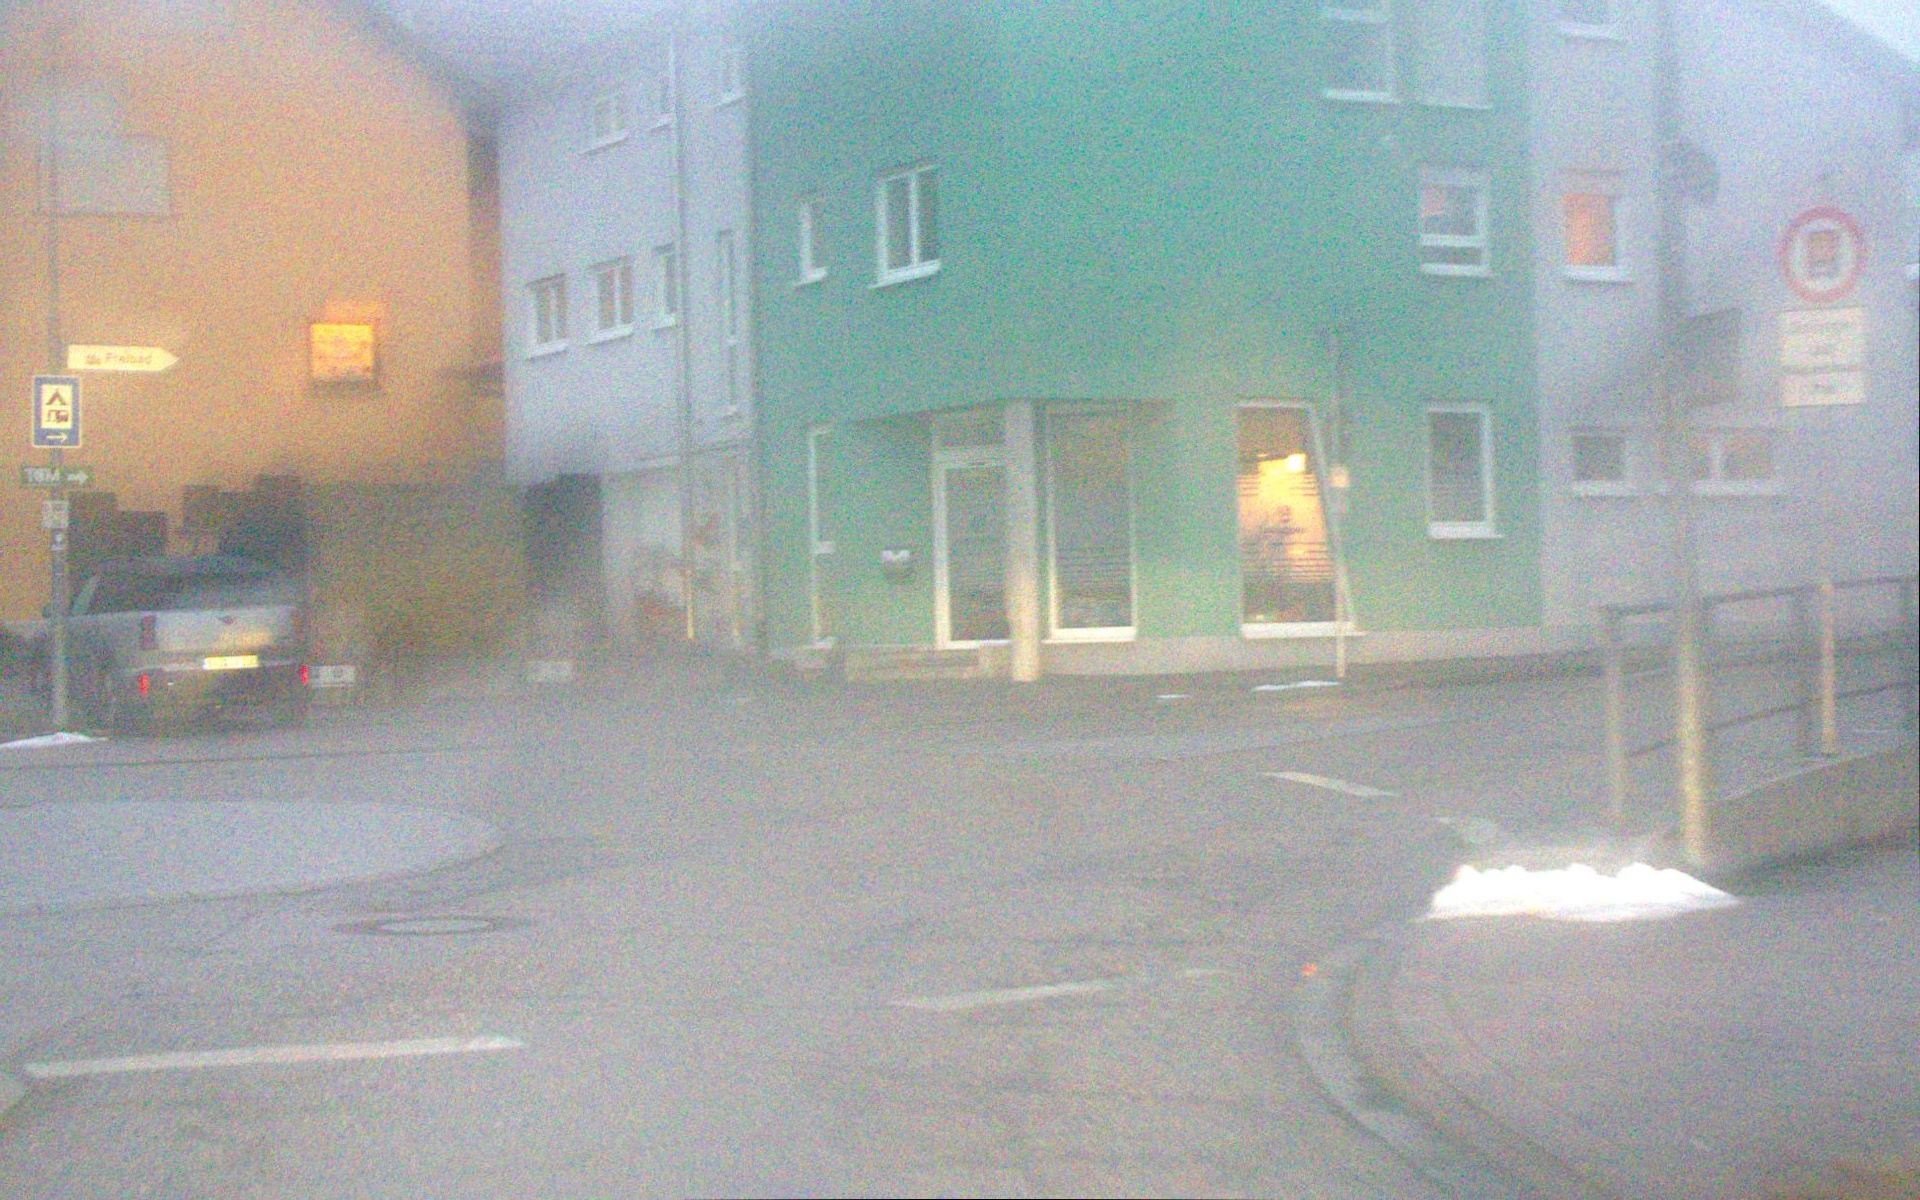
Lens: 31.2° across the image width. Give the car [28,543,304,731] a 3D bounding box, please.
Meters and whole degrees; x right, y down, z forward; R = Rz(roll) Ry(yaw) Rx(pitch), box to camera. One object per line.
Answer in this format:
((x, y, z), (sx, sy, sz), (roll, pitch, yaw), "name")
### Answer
((-7.644, 0.289, 32.837), (1.993, 1.638, 4.001), (-1, 1, -21), "car")
